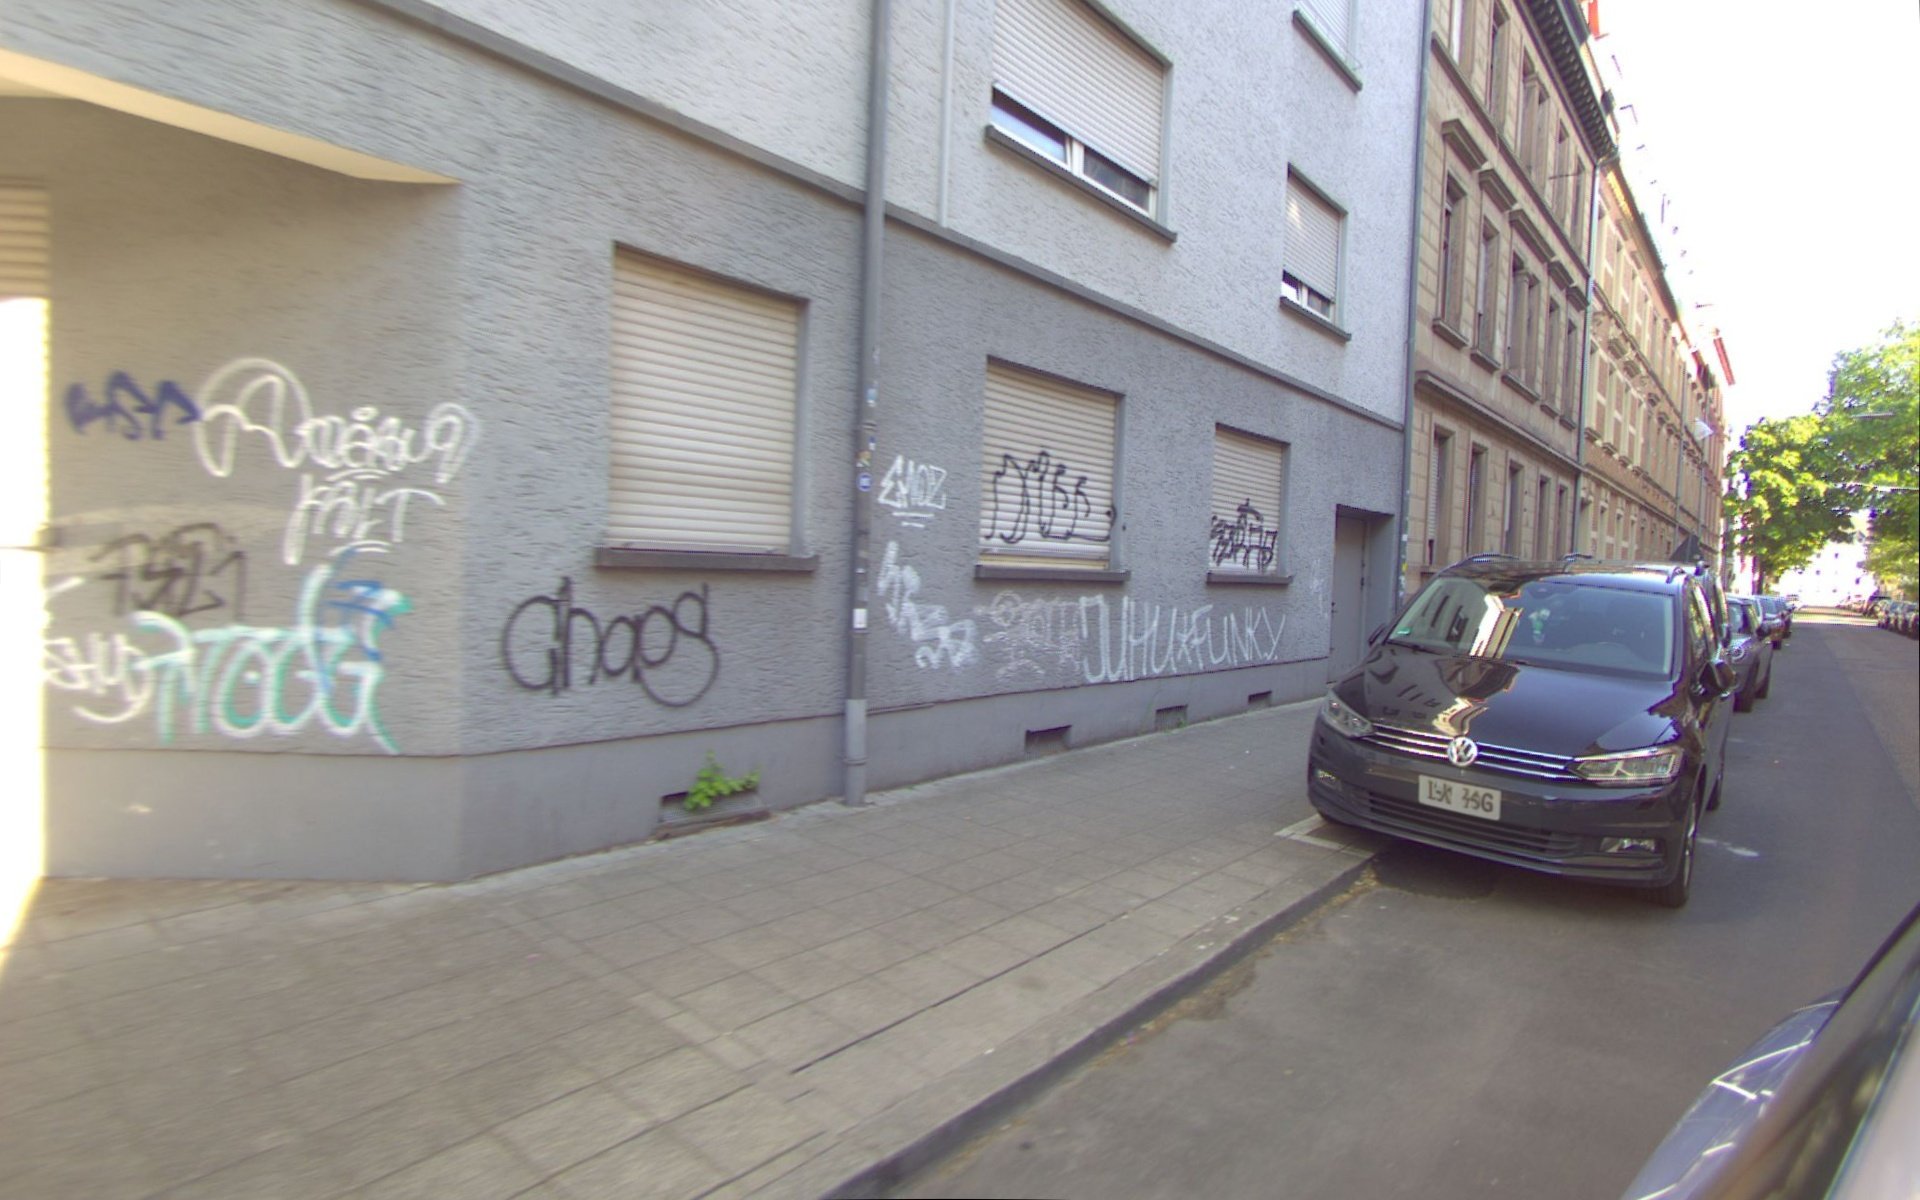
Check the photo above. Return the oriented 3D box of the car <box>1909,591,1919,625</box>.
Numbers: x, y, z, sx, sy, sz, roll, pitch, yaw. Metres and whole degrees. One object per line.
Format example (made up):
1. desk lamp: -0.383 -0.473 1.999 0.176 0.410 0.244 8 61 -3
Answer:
1. car: 42.994 0.405 44.392 1.642 1.473 3.784 7 5 39

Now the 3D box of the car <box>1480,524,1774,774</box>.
1. car: 6.751 0.324 9.991 1.753 1.807 4.654 7 5 40

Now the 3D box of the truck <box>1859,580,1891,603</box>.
1. truck: 111.990 -1.038 123.972 2.386 2.689 6.994 4 3 39

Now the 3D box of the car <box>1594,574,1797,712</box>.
1. car: 10.450 0.507 14.246 1.755 1.469 4.222 10 6 41

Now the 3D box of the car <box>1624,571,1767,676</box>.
1. car: 13.757 0.370 18.822 1.753 1.535 4.380 9 6 39

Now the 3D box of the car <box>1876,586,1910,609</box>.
1. car: 87.420 -0.269 94.912 1.993 1.981 4.968 7 5 40

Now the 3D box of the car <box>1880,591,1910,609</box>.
1. car: 83.888 -0.012 90.821 1.726 1.481 3.788 5 4 40

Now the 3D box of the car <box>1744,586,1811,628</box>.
1. car: 30.600 0.237 37.838 1.776 1.414 4.253 4 2 41

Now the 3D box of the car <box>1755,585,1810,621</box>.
1. car: 37.808 0.126 46.511 1.761 1.502 4.336 4 3 41

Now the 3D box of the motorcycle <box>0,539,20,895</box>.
1. motorcycle: -4.406 0.426 3.192 2.115 1.242 0.744 1 4 -1

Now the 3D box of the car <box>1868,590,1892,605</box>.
1. car: 100.588 -0.308 110.660 1.749 1.491 3.941 2 2 40

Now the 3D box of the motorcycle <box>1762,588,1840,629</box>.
1. motorcycle: 33.384 0.321 40.218 2.194 1.556 0.886 1 0 16

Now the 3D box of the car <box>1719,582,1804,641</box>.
1. car: 23.987 0.291 30.305 1.752 1.462 4.012 8 6 38

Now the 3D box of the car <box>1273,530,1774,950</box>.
1. car: 3.763 0.484 6.313 1.899 1.660 4.328 4 3 40

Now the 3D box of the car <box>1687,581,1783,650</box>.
1. car: 20.569 0.343 26.788 1.720 1.497 4.024 9 6 39
